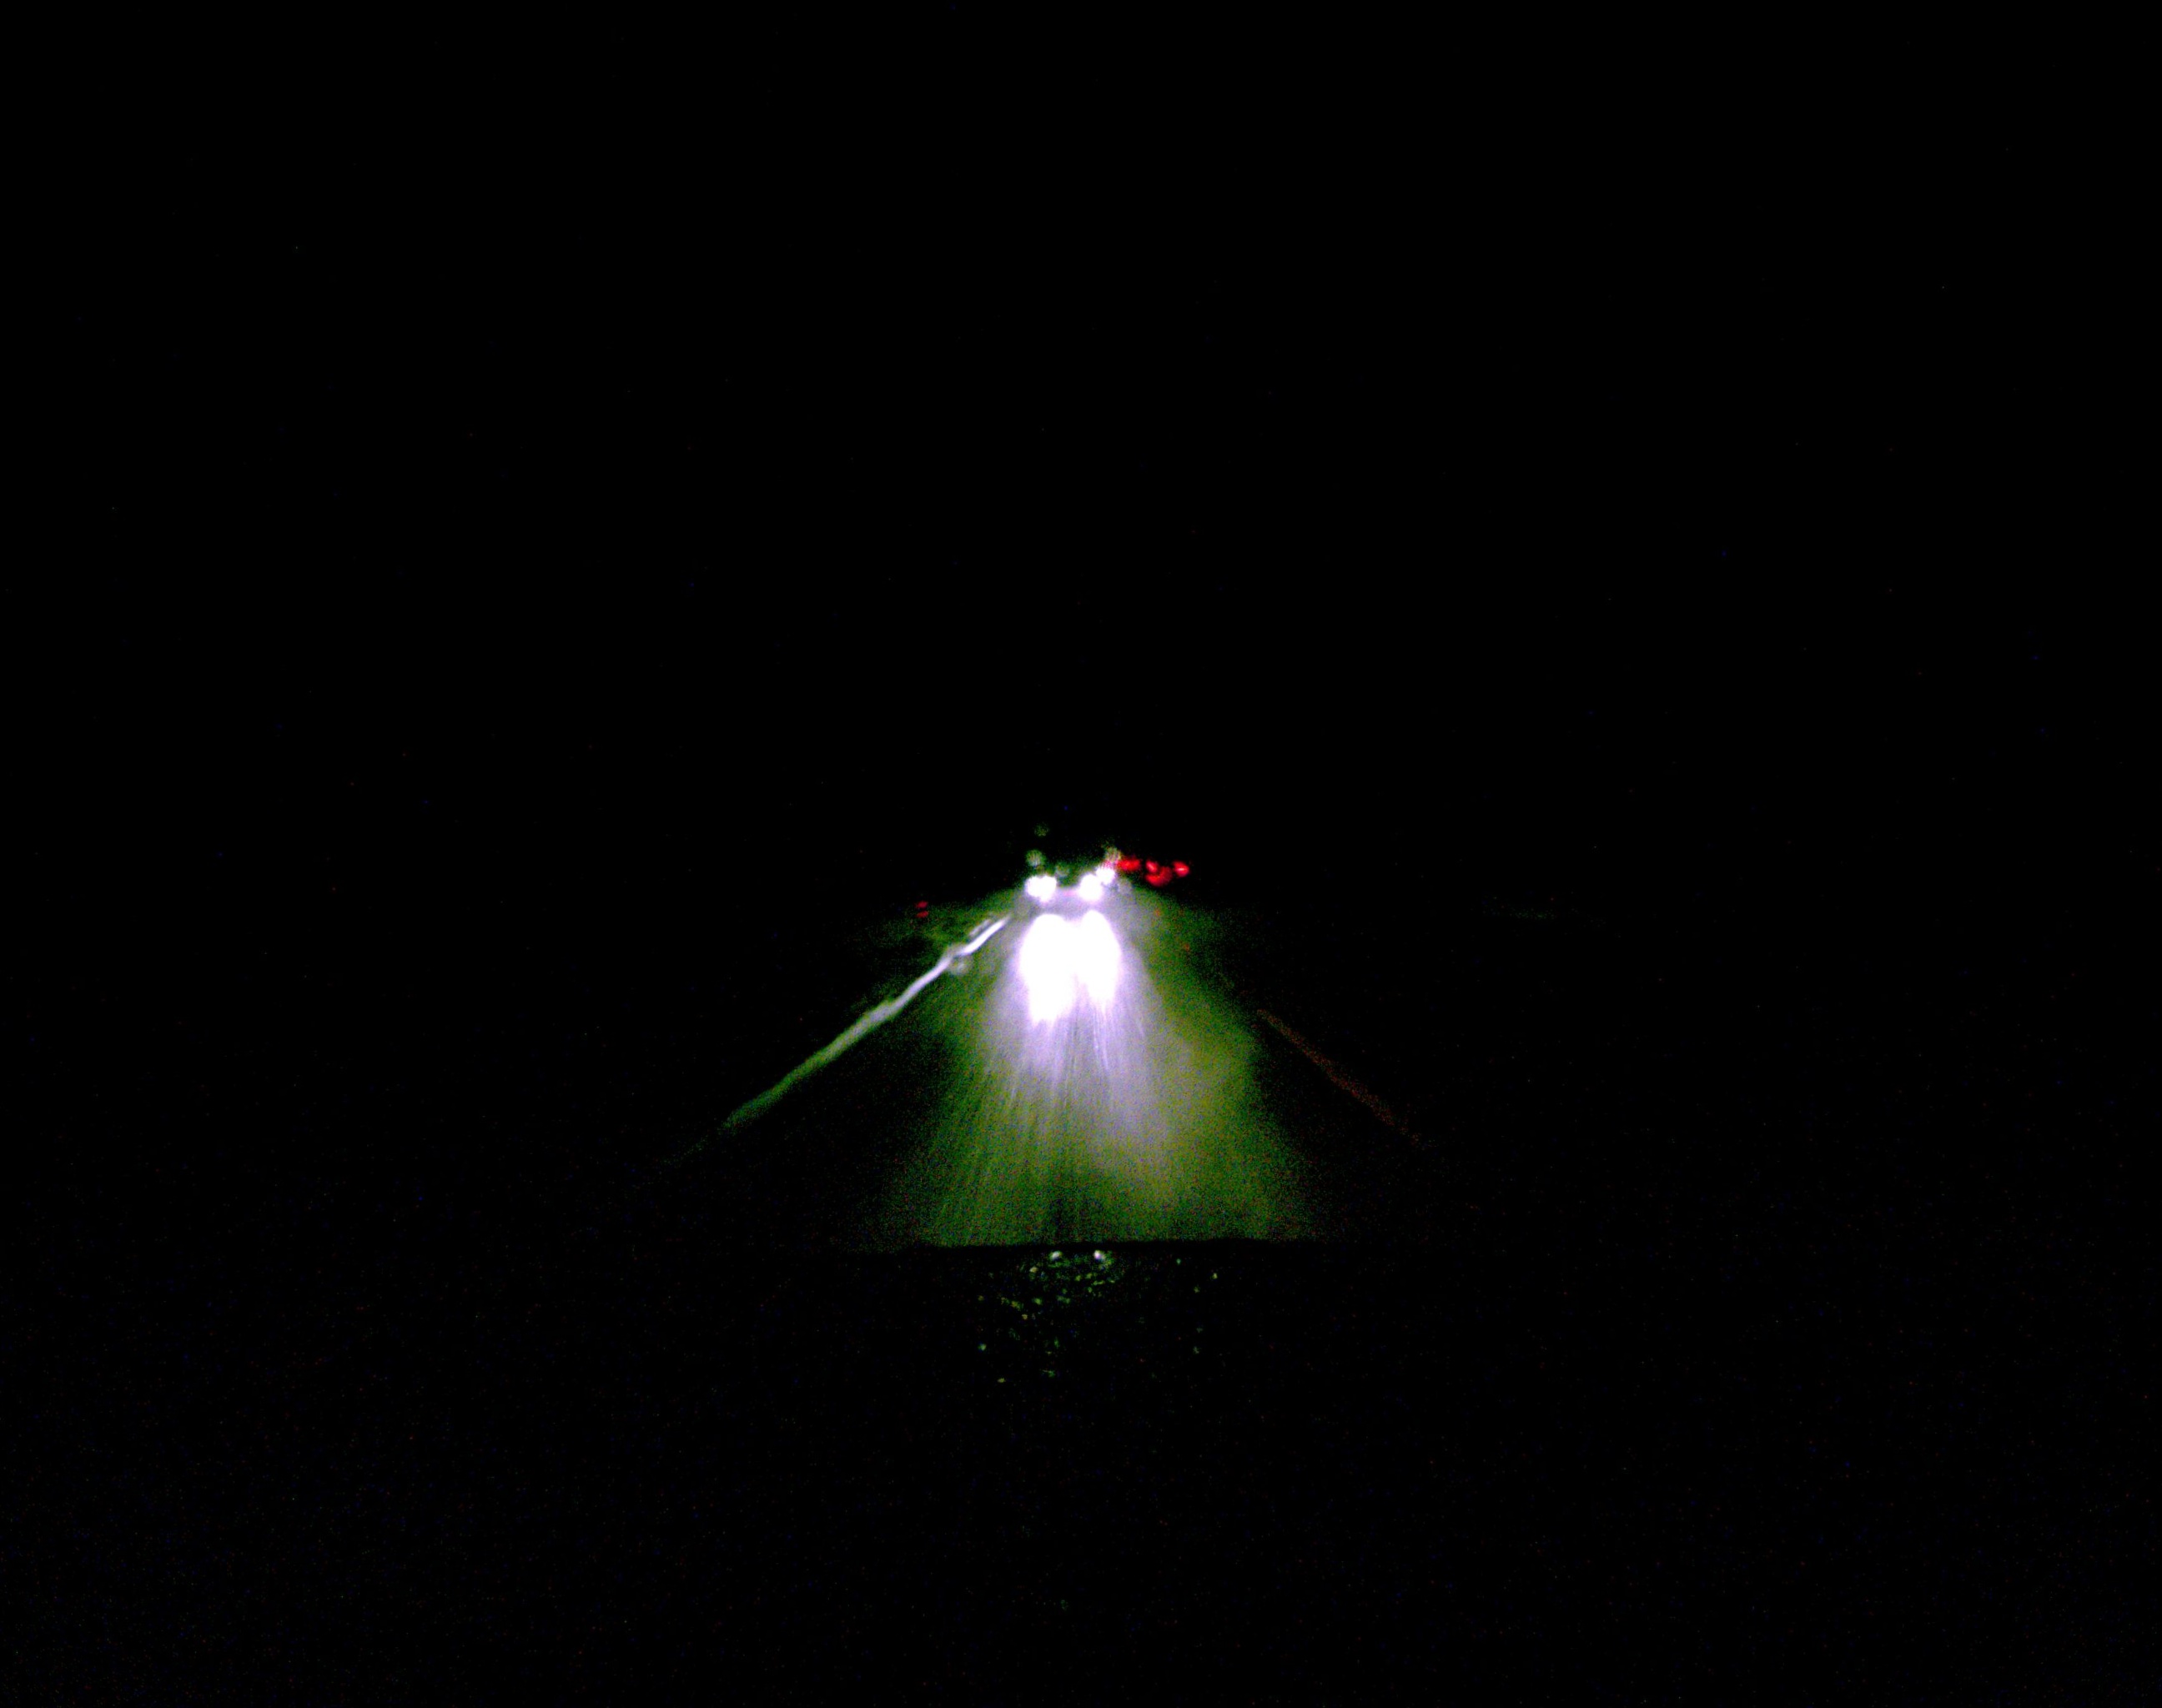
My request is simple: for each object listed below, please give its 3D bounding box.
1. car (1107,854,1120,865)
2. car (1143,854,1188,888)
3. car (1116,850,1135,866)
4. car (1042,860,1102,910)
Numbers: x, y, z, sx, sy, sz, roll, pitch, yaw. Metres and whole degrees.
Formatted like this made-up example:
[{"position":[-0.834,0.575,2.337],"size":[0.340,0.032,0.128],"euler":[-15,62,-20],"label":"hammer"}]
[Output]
[{"position":[4.815,0.806,114.099],"size":[1.790,1.501,3.600],"euler":[-2,0,1],"label":"car"},{"position":[4.119,0.825,37.621],"size":[1.777,1.501,3.689],"euler":[-4,0,1],"label":"car"},{"position":[4.711,0.428,80.877],"size":[1.864,1.628,4.143],"euler":[-2,0,1],"label":"car"},{"position":[-0.238,1.019,26.212],"size":[1.744,1.501,3.601],"euler":[-3,0,4],"label":"car"}]
